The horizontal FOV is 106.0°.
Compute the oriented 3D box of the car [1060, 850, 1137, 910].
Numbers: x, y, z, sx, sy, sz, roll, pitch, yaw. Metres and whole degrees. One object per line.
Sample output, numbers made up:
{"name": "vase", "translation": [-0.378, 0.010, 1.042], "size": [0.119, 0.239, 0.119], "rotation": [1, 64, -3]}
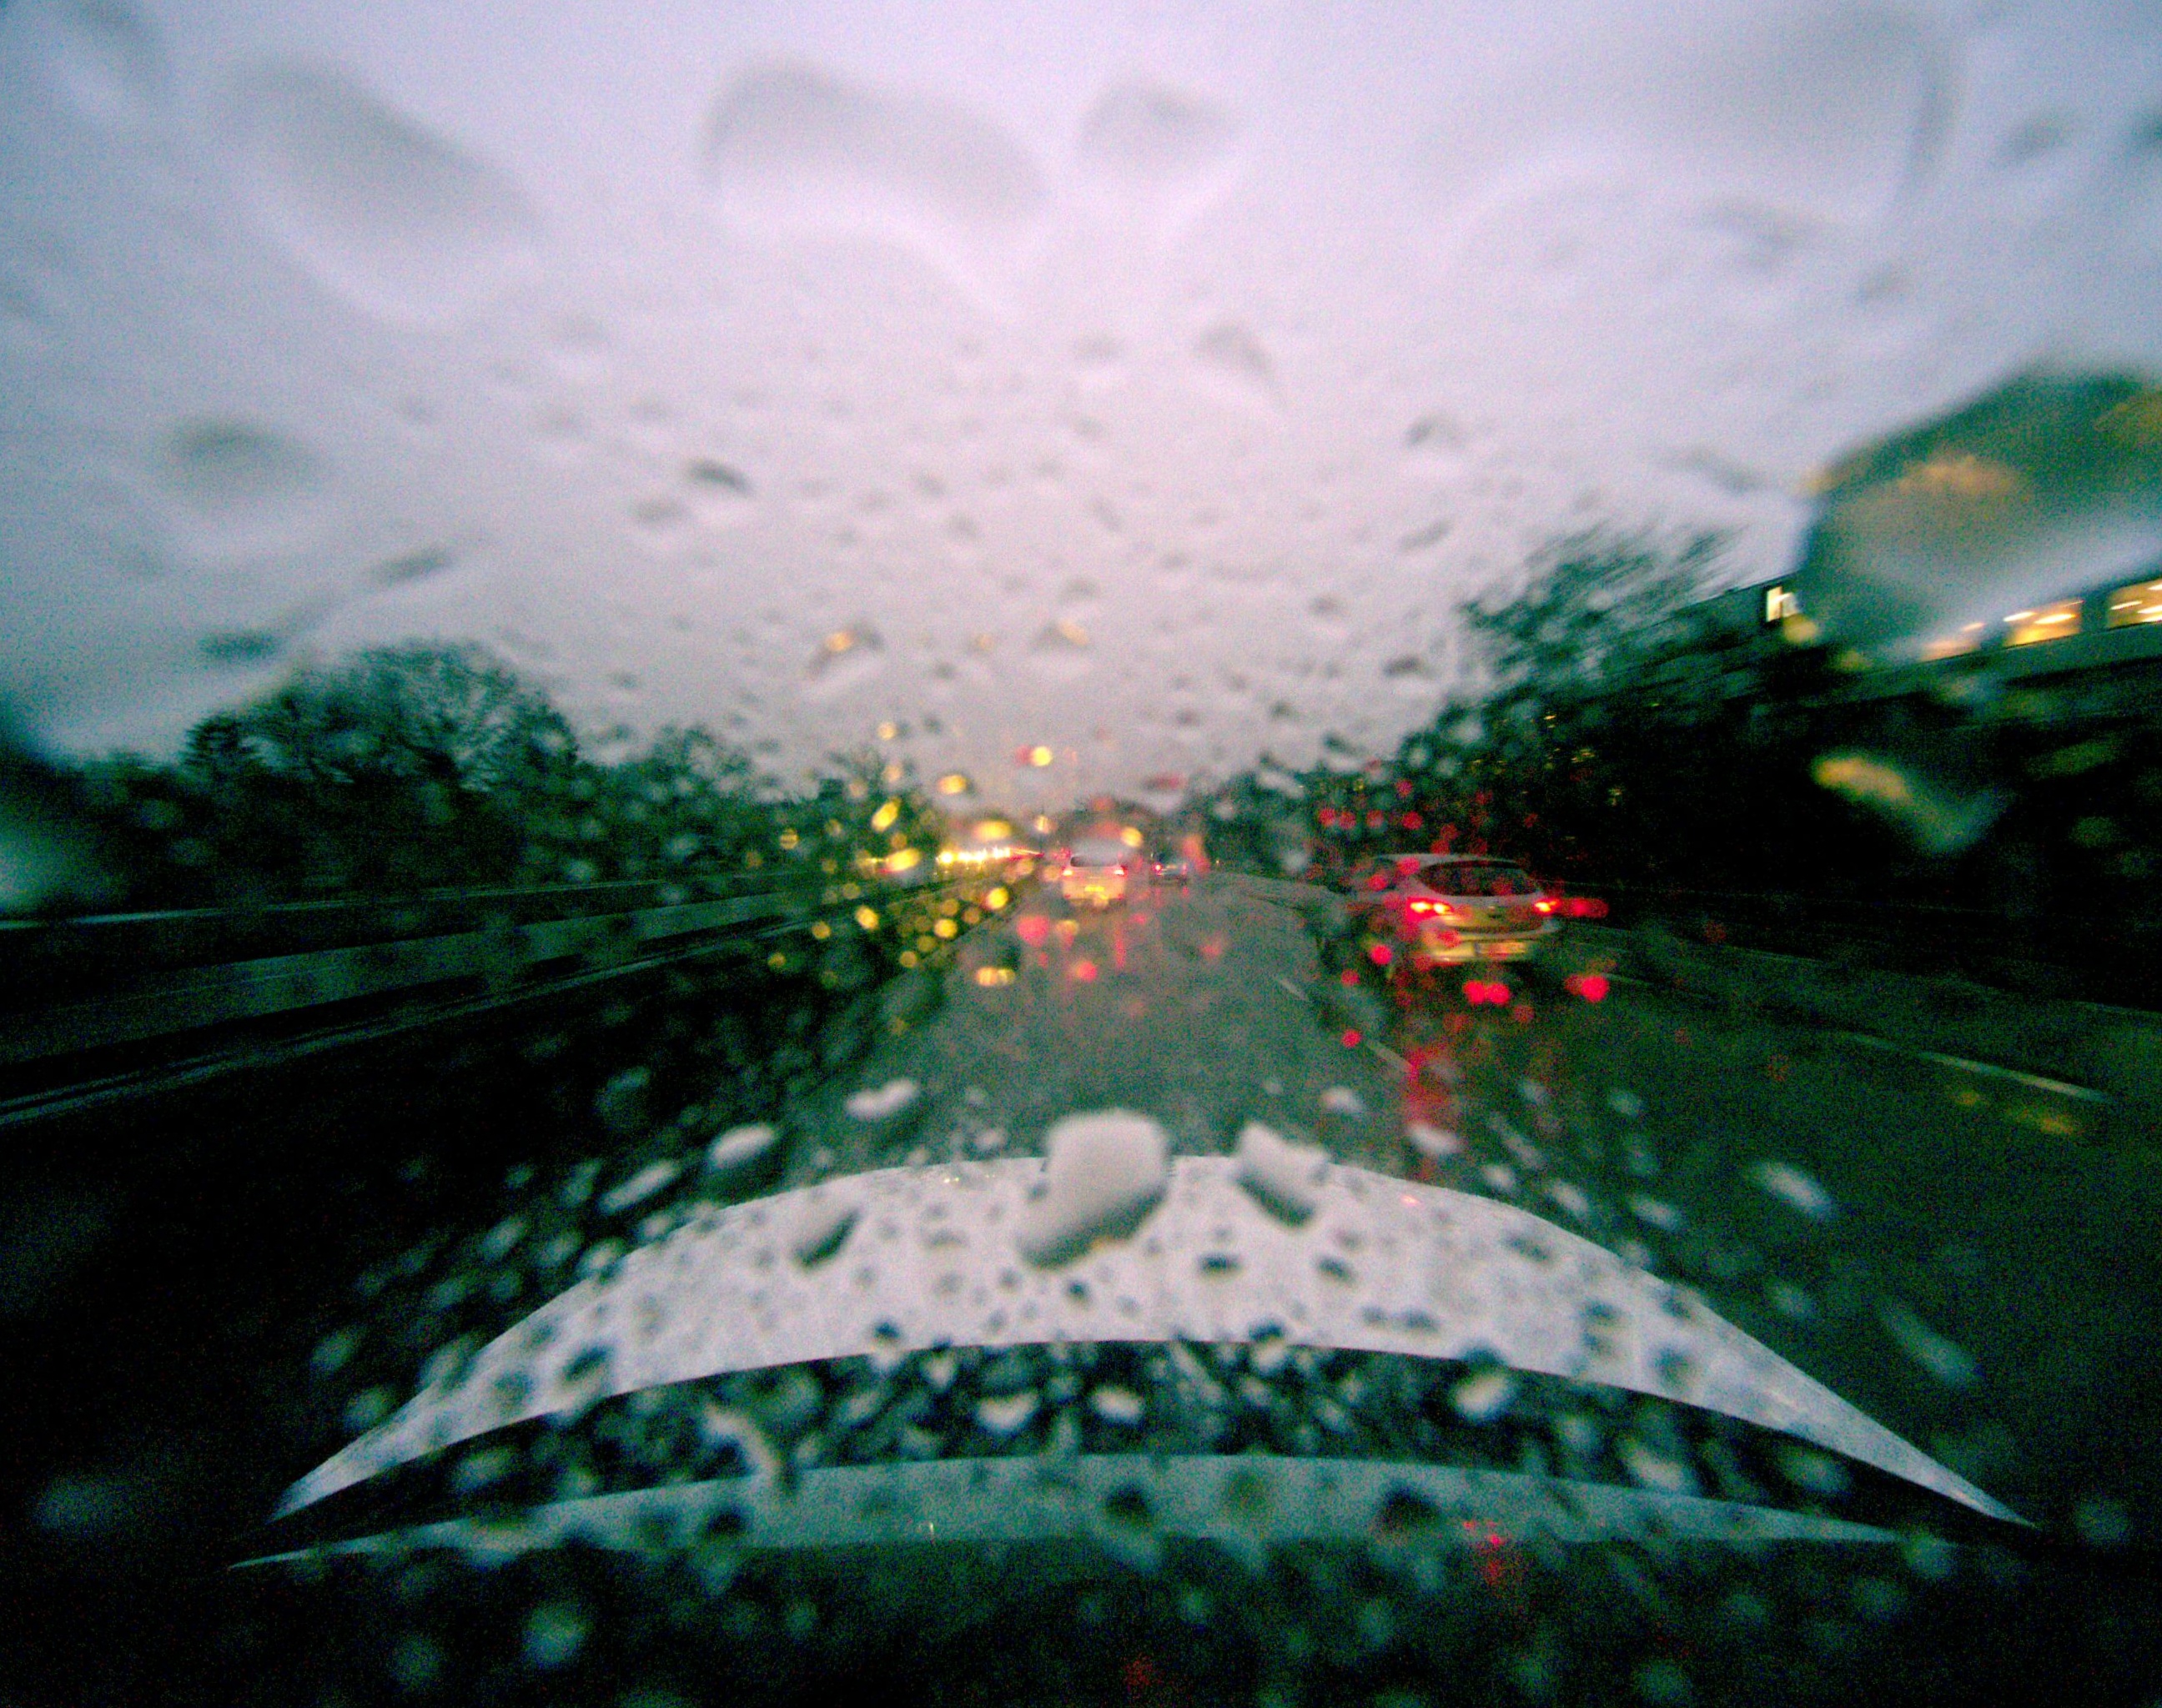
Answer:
{"name": "car", "translation": [0.465, 0.682, 23.313], "size": [2.018, 1.574, 3.999], "rotation": [0, 0, 0]}

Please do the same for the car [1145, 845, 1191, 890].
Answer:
{"name": "car", "translation": [4.029, 0.606, 38.414], "size": [1.925, 2.019, 3.776], "rotation": [0, 0, 2]}

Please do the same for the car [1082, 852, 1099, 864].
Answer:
{"name": "car", "translation": [1.207, 0.510, 104.340], "size": [1.927, 1.546, 3.771], "rotation": [0, 0, -2]}

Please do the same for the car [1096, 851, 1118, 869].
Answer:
{"name": "car", "translation": [2.600, 0.555, 81.462], "size": [1.927, 1.546, 3.772], "rotation": [-6, 0, -1]}

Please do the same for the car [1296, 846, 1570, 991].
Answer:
{"name": "car", "translation": [4.222, 0.671, 10.607], "size": [1.842, 1.501, 4.264], "rotation": [0, 0, 2]}

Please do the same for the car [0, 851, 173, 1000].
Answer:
{"name": "car", "translation": [-11.335, 0.698, 7.537], "size": [1.691, 1.441, 3.682], "rotation": [0, 0, 1]}

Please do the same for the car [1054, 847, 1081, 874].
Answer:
{"name": "car", "translation": [-1.099, 0.520, 63.687], "size": [1.989, 2.013, 3.996], "rotation": [0, 0, -3]}

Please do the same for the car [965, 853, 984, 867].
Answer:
{"name": "car", "translation": [-12.790, 0.705, 98.135], "size": [1.832, 1.556, 4.353], "rotation": [0, 0, -1]}

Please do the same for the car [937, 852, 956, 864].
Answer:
{"name": "car", "translation": [-17.992, 0.549, 109.031], "size": [1.831, 1.556, 4.354], "rotation": [0, 0, 0]}
